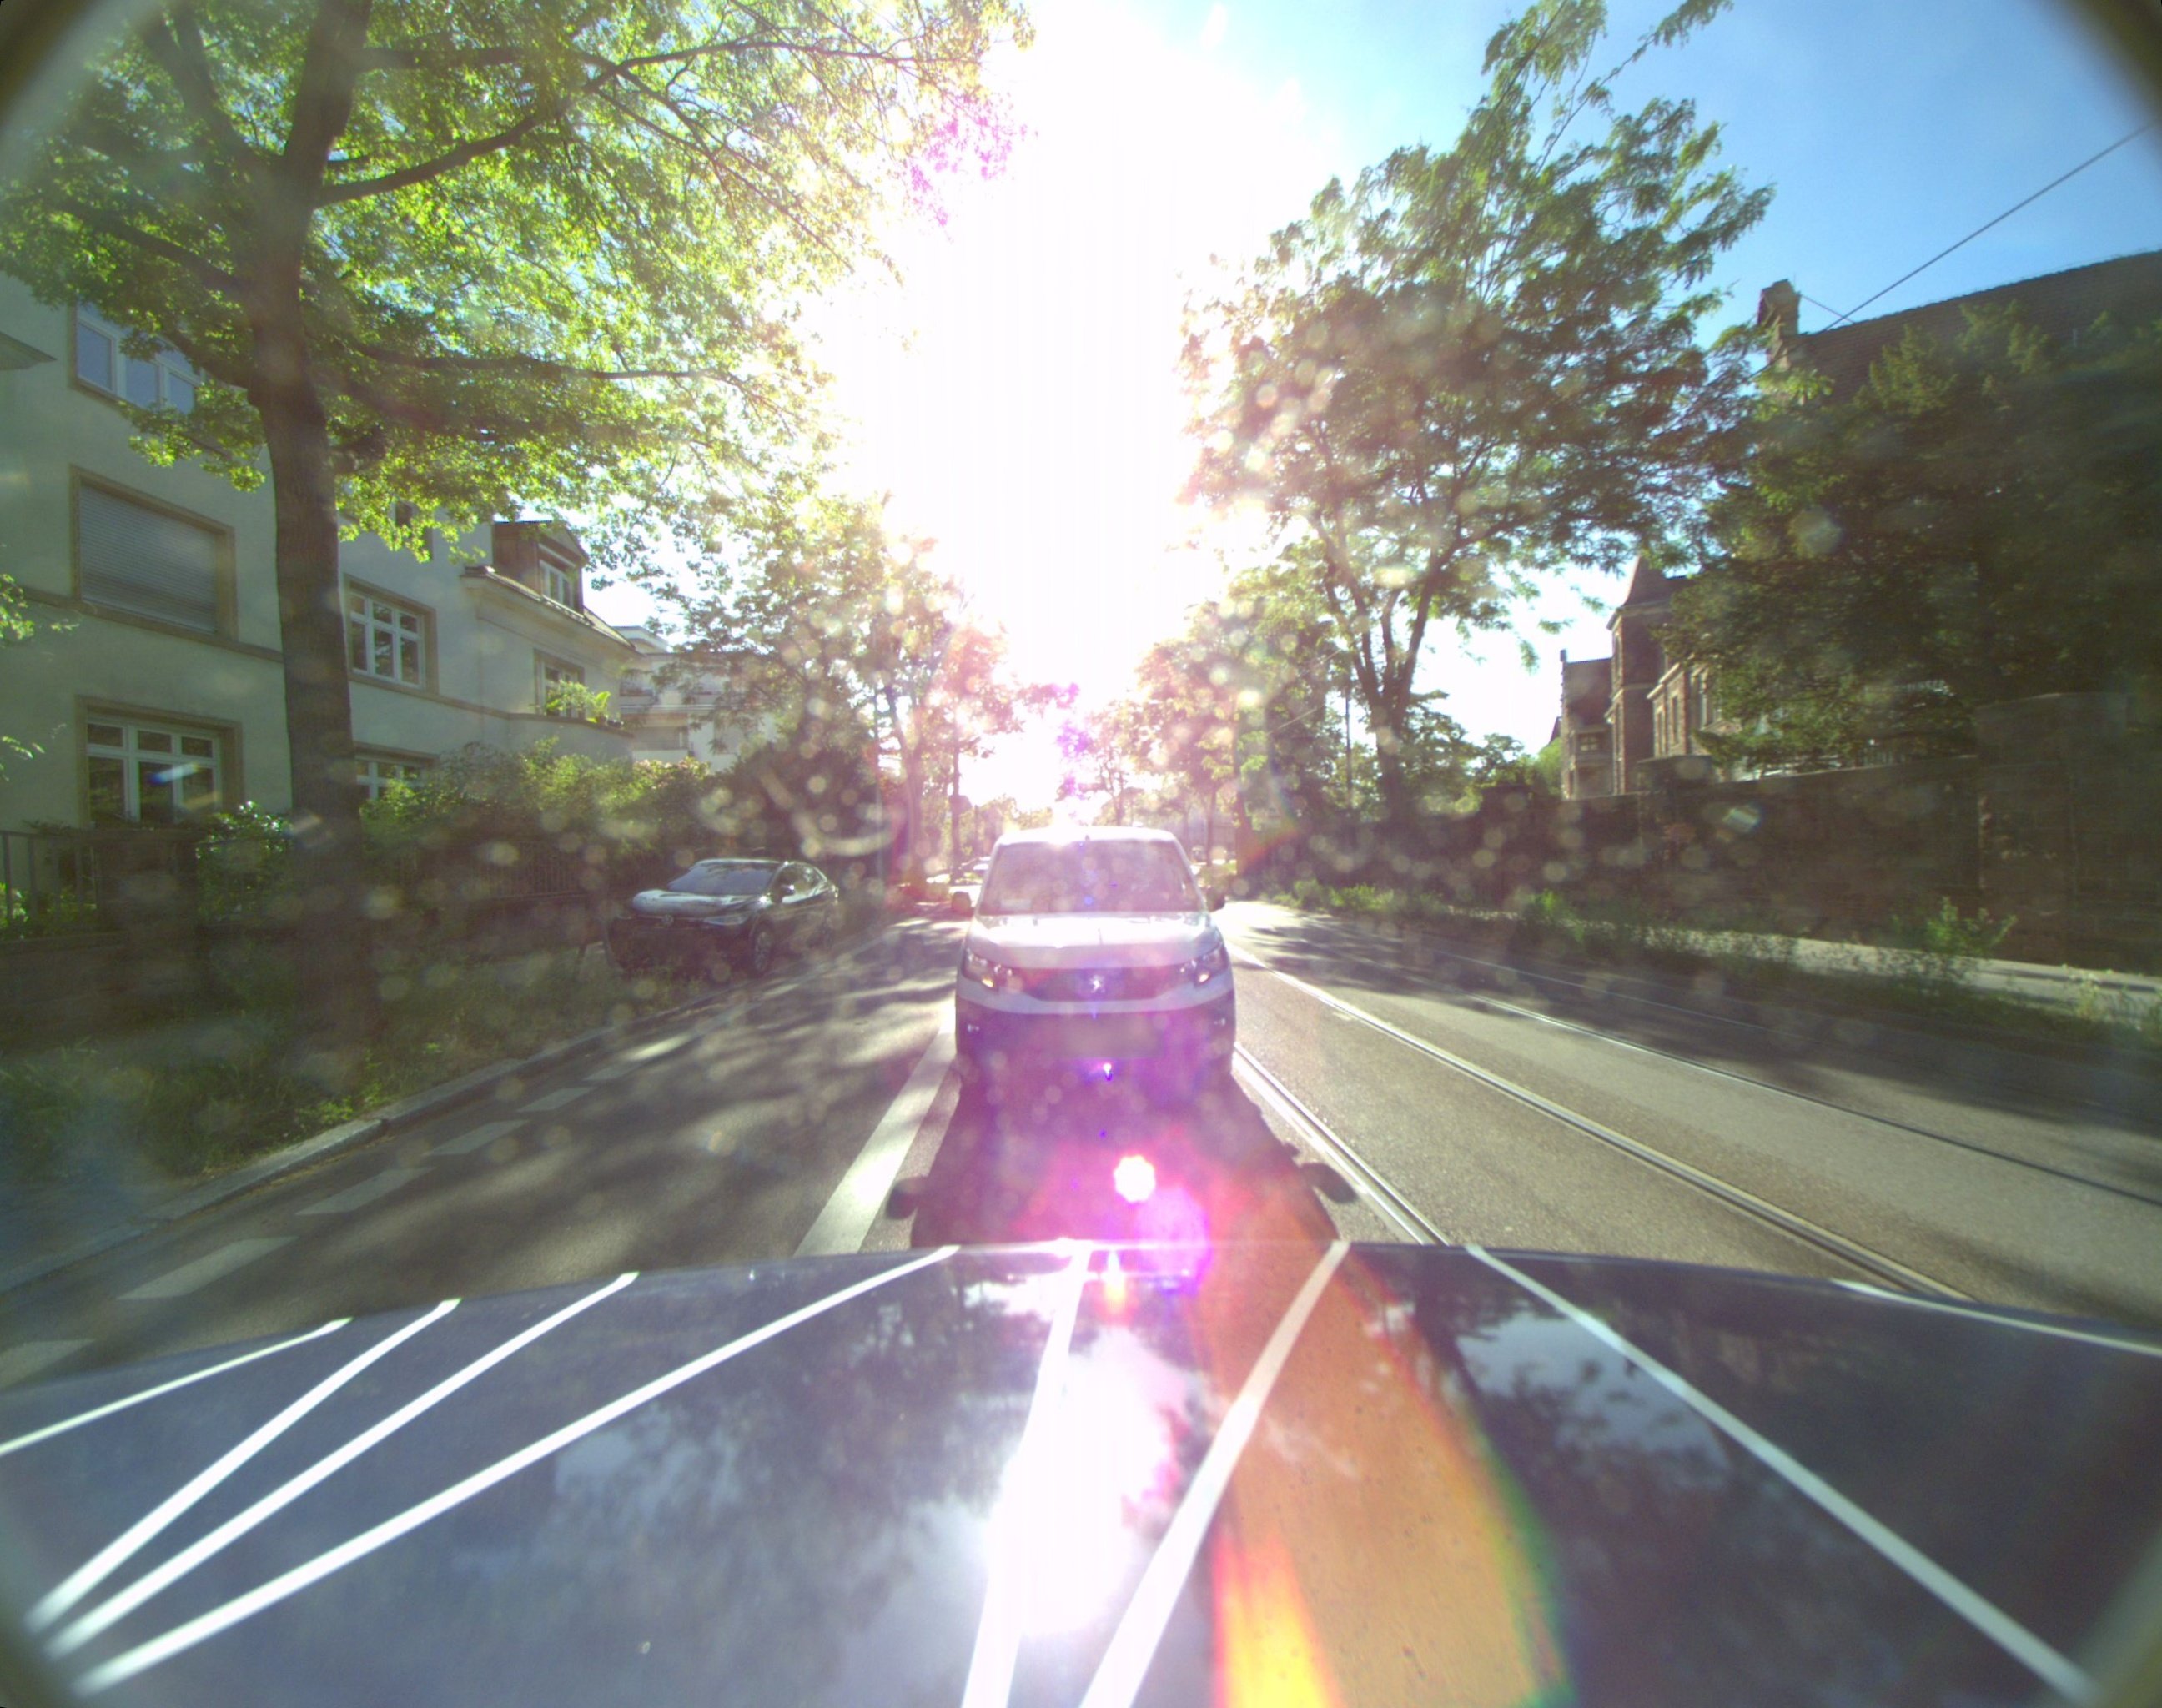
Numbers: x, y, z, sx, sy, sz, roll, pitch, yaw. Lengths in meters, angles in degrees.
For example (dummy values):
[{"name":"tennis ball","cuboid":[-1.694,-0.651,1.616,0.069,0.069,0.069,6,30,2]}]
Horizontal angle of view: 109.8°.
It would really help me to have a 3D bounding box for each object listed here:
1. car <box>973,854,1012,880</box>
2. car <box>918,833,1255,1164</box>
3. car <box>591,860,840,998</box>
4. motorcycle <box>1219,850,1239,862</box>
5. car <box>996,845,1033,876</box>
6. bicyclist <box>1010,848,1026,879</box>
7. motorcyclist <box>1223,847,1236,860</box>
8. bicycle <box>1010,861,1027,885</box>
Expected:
[{"name":"car","cuboid":[-5.251,0.750,45.469,1.787,1.443,4.000,-2,0,1]},{"name":"car","cuboid":[0.048,0.784,6.542,1.793,1.770,4.786,-2,0,0]},{"name":"car","cuboid":[-5.175,0.943,11.453,1.743,1.597,4.091,2,0,0]},{"name":"motorcycle","cuboid":[15.563,0.228,79.743,0.912,1.146,2.433,-1,1,43]},{"name":"car","cuboid":[-4.499,0.427,51.935,1.998,2.002,4.583,-2,0,1]},{"name":"bicyclist","cuboid":[-3.104,0.440,37.608,0.645,1.479,1.115,-2,1,1]},{"name":"motorcyclist","cuboid":[15.579,-0.034,79.748,0.889,1.375,0.910,-1,1,44]},{"name":"bicycle","cuboid":[-3.081,0.943,37.599,0.644,1.137,1.902,-1,0,1]}]
